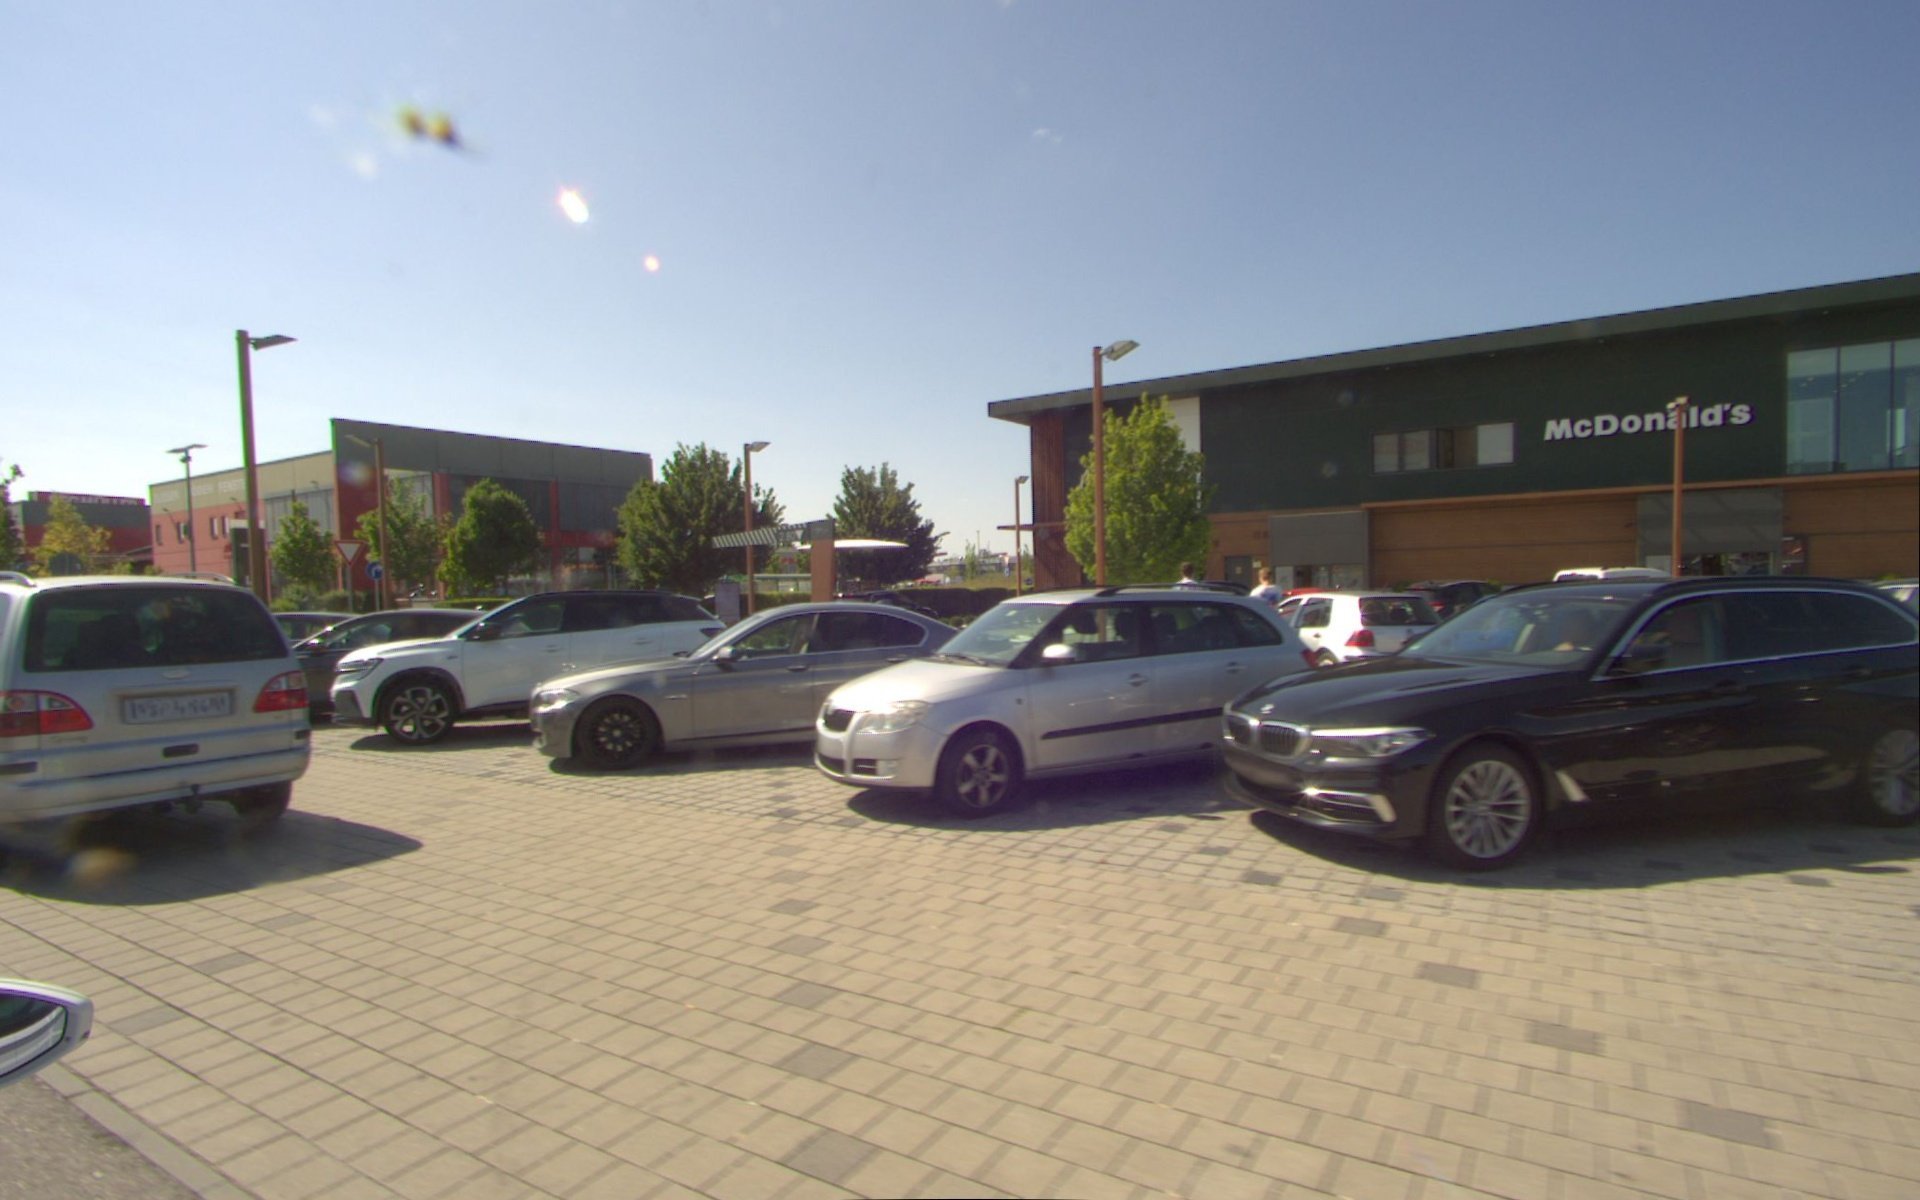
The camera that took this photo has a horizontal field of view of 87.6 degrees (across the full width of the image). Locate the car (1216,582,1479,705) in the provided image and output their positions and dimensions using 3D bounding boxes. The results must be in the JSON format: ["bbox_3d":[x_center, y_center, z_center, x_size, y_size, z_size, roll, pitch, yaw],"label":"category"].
[{"bbox_3d":[5.509,0.546,14.860,1.680,1.513,4.110,-2,1,-12],"label":"car"}]

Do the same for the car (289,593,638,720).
[{"bbox_3d":[-6.807,0.708,14.230,4.136,1.546,1.970,-1,1,-21],"label":"car"}]

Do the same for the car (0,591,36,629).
[{"bbox_3d":[-48.845,0.536,49.411,1.928,1.880,4.380,0,1,32],"label":"car"}]

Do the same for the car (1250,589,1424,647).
[{"bbox_3d":[10.552,0.464,28.057,4.392,1.485,1.957,-1,1,-21],"label":"car"}]

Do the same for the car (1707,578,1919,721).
[{"bbox_3d":[10.977,0.507,11.066,1.779,1.507,4.275,-2,1,-12],"label":"car"}]

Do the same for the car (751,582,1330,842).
[{"bbox_3d":[0.668,0.656,7.865,4.144,1.546,1.966,-1,1,-28],"label":"car"}]

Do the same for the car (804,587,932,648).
[{"bbox_3d":[-2.746,0.487,30.904,1.966,1.714,4.217,0,1,28],"label":"car"}]

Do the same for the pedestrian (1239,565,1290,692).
[{"bbox_3d":[4.422,0.402,14.550,0.459,1.792,0.551,-1,1,-20],"label":"pedestrian"}]

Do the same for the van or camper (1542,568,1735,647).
[{"bbox_3d":[16.339,0.155,24.168,3.956,1.799,1.709,-1,1,-15],"label":"van or camper"}]

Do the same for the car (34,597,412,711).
[{"bbox_3d":[-11.220,0.762,15.622,4.253,1.547,1.972,-1,1,-14],"label":"car"}]

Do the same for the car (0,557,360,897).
[{"bbox_3d":[-6.492,0.673,7.189,4.616,1.772,1.823,-1,1,32],"label":"car"}]

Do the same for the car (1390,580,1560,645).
[{"bbox_3d":[13.323,0.276,25.942,3.881,1.535,1.710,-1,2,-18],"label":"car"}]

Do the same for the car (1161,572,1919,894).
[{"bbox_3d":[3.859,0.613,6.333,4.697,1.506,1.972,-1,1,-16],"label":"car"}]

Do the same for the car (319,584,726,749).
[{"bbox_3d":[-5.104,0.675,12.085,4.140,1.677,1.968,-1,1,-25],"label":"car"}]

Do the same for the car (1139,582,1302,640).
[{"bbox_3d":[7.800,0.308,30.040,4.389,1.624,1.958,-1,1,-18],"label":"car"}]

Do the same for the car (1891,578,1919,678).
[{"bbox_3d":[15.821,0.410,13.457,1.860,1.507,4.639,-2,1,-12],"label":"car"}]

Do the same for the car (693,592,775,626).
[{"bbox_3d":[-13.953,0.520,62.026,1.856,1.980,4.859,-1,0,38],"label":"car"}]

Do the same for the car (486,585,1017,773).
[{"bbox_3d":[-1.996,0.659,10.110,4.760,1.546,1.971,-1,1,-17],"label":"car"}]

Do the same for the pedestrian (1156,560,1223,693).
[{"bbox_3d":[3.329,0.381,14.574,0.818,1.874,0.770,-1,1,3],"label":"pedestrian"}]

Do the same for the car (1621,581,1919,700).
[{"bbox_3d":[12.838,0.507,15.275,1.860,1.507,4.639,-2,1,-12],"label":"car"}]

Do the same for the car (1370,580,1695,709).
[{"bbox_3d":[7.907,0.530,14.350,1.779,1.535,4.110,-2,1,-12],"label":"car"}]

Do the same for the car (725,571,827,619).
[{"bbox_3d":[-8.926,-0.244,49.091,1.972,2.226,5.077,0,1,33],"label":"car"}]
